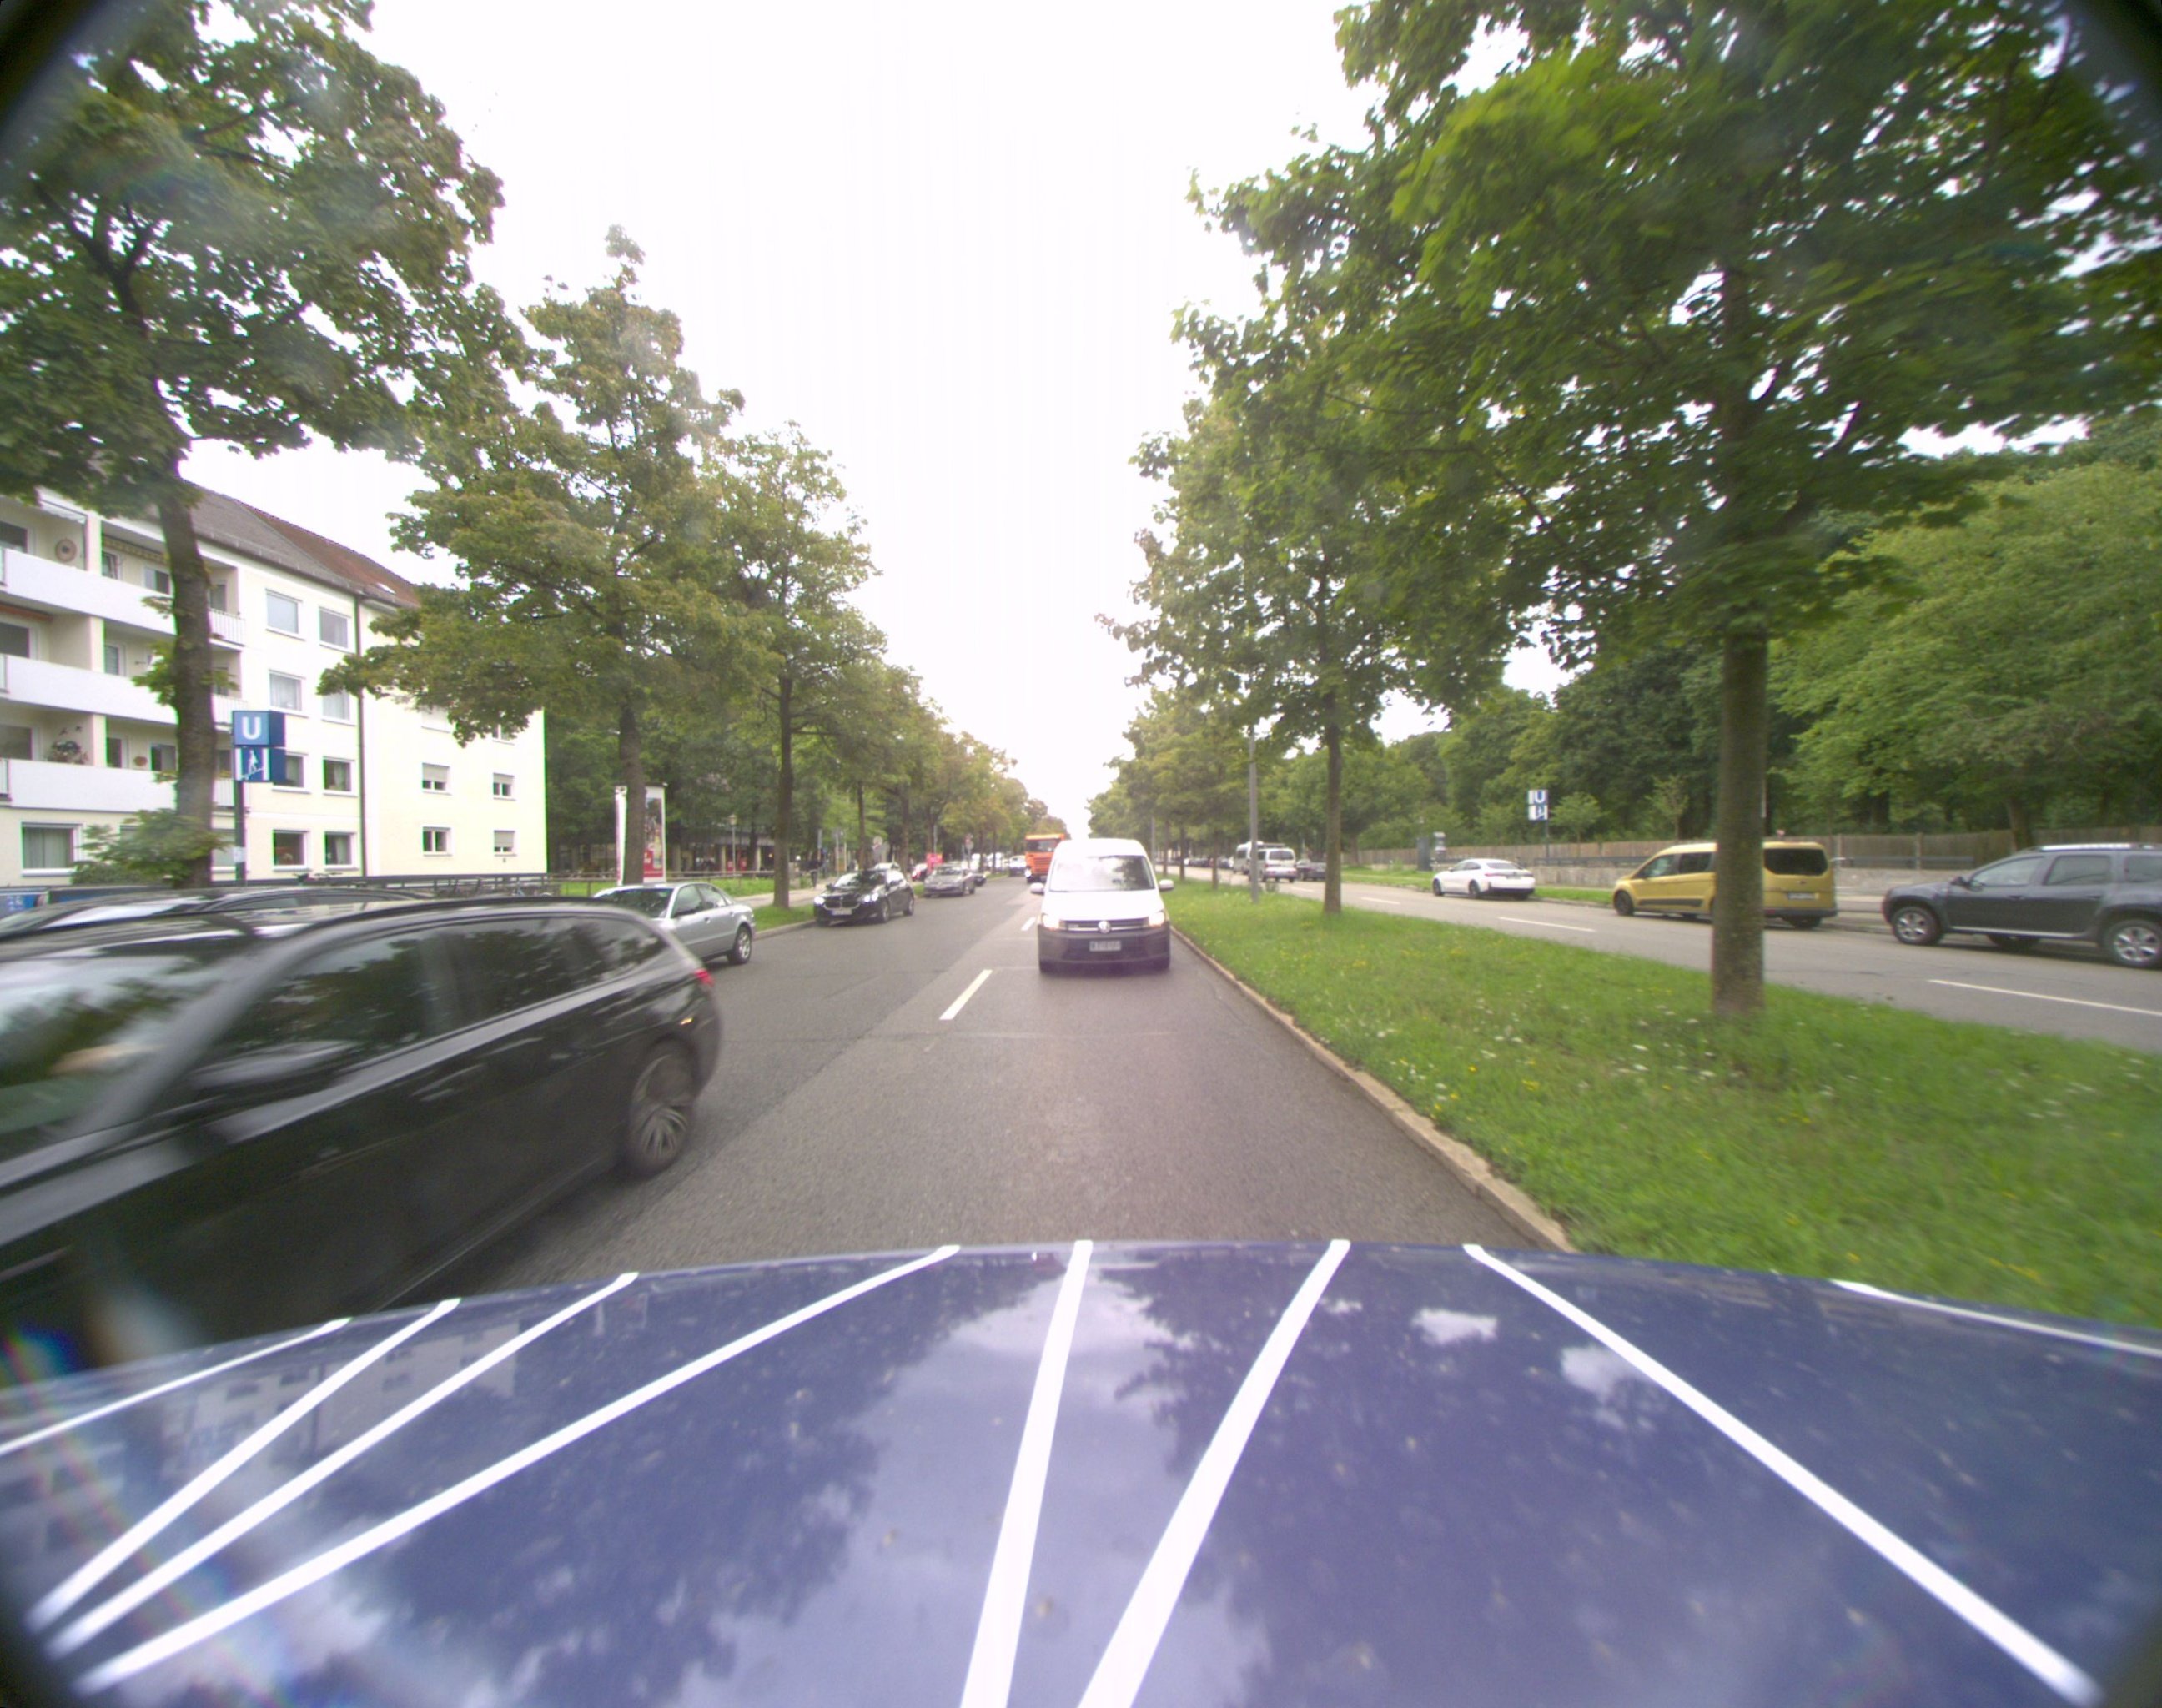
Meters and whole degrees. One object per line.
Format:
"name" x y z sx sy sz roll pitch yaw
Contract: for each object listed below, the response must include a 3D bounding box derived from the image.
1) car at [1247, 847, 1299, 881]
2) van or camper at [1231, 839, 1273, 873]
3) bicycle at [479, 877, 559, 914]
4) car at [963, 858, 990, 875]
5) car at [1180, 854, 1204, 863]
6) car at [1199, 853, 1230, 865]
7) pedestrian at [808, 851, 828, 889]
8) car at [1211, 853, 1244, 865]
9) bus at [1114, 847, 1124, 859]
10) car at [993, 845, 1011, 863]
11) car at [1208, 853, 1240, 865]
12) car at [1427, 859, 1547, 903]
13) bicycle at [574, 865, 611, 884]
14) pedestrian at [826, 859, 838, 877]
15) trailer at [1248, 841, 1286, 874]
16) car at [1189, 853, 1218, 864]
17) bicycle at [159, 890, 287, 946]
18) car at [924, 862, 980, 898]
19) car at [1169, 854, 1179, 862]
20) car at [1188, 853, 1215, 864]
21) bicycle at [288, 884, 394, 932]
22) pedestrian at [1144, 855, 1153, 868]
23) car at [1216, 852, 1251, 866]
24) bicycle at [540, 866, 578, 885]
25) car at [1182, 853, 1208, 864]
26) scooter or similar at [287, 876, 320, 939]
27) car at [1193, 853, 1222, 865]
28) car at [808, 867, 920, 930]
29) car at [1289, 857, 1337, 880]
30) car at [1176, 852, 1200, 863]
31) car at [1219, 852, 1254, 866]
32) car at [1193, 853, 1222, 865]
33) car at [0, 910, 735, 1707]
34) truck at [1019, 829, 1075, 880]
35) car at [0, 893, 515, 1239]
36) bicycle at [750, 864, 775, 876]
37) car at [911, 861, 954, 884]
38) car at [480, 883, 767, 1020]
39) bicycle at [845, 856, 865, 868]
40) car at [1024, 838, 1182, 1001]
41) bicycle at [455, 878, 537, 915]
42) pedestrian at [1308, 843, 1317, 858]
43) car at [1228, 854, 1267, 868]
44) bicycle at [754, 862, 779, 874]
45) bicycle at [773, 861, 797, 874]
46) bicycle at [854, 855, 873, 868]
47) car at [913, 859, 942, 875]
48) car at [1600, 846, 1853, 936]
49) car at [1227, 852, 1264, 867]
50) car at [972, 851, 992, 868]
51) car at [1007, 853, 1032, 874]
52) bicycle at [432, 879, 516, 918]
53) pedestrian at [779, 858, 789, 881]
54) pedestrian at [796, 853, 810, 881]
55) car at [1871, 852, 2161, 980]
"car" 11.414 0.550 45.502 1.804 1.922 4.993 0 0 0
"van or camper" 15.099 0.184 67.534 2.040 2.821 7.546 1 0 1
"bicycle" -16.317 1.196 22.073 1.883 1.022 0.432 0 1 -7
"car" -9.615 1.108 70.295 1.732 1.424 4.691 -2 0 0
"car" 19.064 0.803 130.424 4.006 1.358 1.588 -2 1 -30
"car" 19.197 0.704 108.996 4.005 1.548 1.888 -3 0 -27
"pedestrian" -12.518 0.755 36.192 0.641 1.739 0.849 1 0 -2
"car" 19.888 0.642 102.951 4.005 1.455 1.888 -3 0 -27
"bus" 11.236 -0.334 226.744 2.676 3.279 11.926 1 0 1
"car" -12.120 -0.010 116.654 1.978 2.641 6.006 -2 0 0
"car" 19.976 0.715 106.000 4.005 1.446 1.737 -3 0 -27
"car" 14.904 0.929 28.254 1.861 1.464 4.875 0 0 0
"bicycle" -26.792 1.124 41.707 1.696 0.965 0.455 -1 0 -3
"pedestrian" -22.250 1.282 67.838 0.658 1.584 0.755 -1 1 19
"trailer" 15.000 0.302 61.480 2.022 2.575 4.659 1 0 1
"car" 19.067 0.673 118.150 4.006 1.548 1.887 -3 0 -32
"bicycle" -16.441 1.220 14.585 1.882 1.022 0.432 0 1 -2
"car" -5.874 1.140 35.103 1.686 1.457 4.115 -2 0 2
"car" 18.141 0.783 148.224 1.889 1.435 4.170 -2 0 5
"car" 19.313 0.705 121.663 4.006 1.548 1.887 -3 0 -32
"bicycle" -16.537 1.202 16.998 1.882 1.022 0.432 0 1 -2
"pedestrian" 8.681 0.945 97.723 0.872 1.689 0.771 0 2 21
"car" 19.418 0.621 96.609 4.005 1.577 1.798 -3 0 -28
"bicycle" -28.576 1.179 41.584 1.696 0.965 0.455 -1 0 -3
"car" 19.055 0.731 127.164 4.006 1.548 1.887 -3 0 -32
"scooter or similar" -15.796 1.065 15.451 0.359 1.193 1.386 -1 1 -42
"car" 19.210 0.714 115.220 4.006 1.548 1.887 -3 0 -32
"car" -5.884 1.160 21.176 1.755 1.457 4.176 -2 0 2
"car" 14.892 0.888 49.084 1.804 1.417 4.431 0 0 1
"car" 19.269 0.606 137.041 4.006 1.718 1.777 -2 1 -33
"car" 19.152 0.610 93.666 4.006 1.477 1.797 -3 0 -34
"car" 18.583 0.708 111.569 4.006 1.548 1.887 -3 0 -32
"car" -3.022 1.074 2.347 1.763 1.405 4.462 -2 0 1
"truck" -2.164 0.012 52.724 3.046 3.170 9.134 -2 0 2
"car" -6.164 1.160 4.897 1.721 1.524 4.275 -2 0 1
"bicycle" -29.420 1.462 70.193 2.080 1.114 0.455 -1 1 0
"car" -9.731 1.190 50.140 1.726 1.371 4.352 -2 0 2
"car" -6.202 1.211 10.969 1.640 1.378 4.243 -2 0 -2
"bicycle" -28.673 1.033 96.263 2.313 1.523 0.649 -1 1 1
"car" 0.241 0.761 11.134 1.750 1.807 4.667 -2 0 0
"bicycle" -16.556 1.202 21.517 1.883 1.022 0.432 0 1 -5
"pedestrian" 27.717 -0.424 90.796 0.770 1.757 0.874 0 1 -3
"car" 19.120 0.747 87.024 4.331 1.430 1.797 -2 1 -33
"bicycle" -28.793 1.276 69.587 2.080 1.114 0.455 -1 1 0
"bicycle" -28.311 1.291 72.766 2.080 1.114 0.455 -1 1 0
"bicycle" -28.173 0.953 98.434 2.313 1.613 0.649 -1 1 1
"car" -15.341 1.303 76.137 1.826 1.522 4.603 0 0 2
"car" 14.497 0.731 17.545 1.819 1.772 4.818 1 0 2
"car" 19.645 0.657 90.679 4.331 1.564 1.797 -2 1 -33
"car" -15.298 0.831 117.549 2.268 2.514 5.858 -1 0 1
"car" -5.898 0.897 73.232 1.886 1.916 4.933 -2 0 1
"bicycle" -16.480 1.209 20.652 1.882 1.022 0.432 0 1 -2
"pedestrian" -20.721 1.106 53.047 0.581 1.565 0.780 -2 1 -23
"pedestrian" -17.074 0.807 46.732 0.642 1.720 0.599 -3 1 -32
"car" 14.679 0.802 11.138 1.741 1.636 4.255 0 0 0
